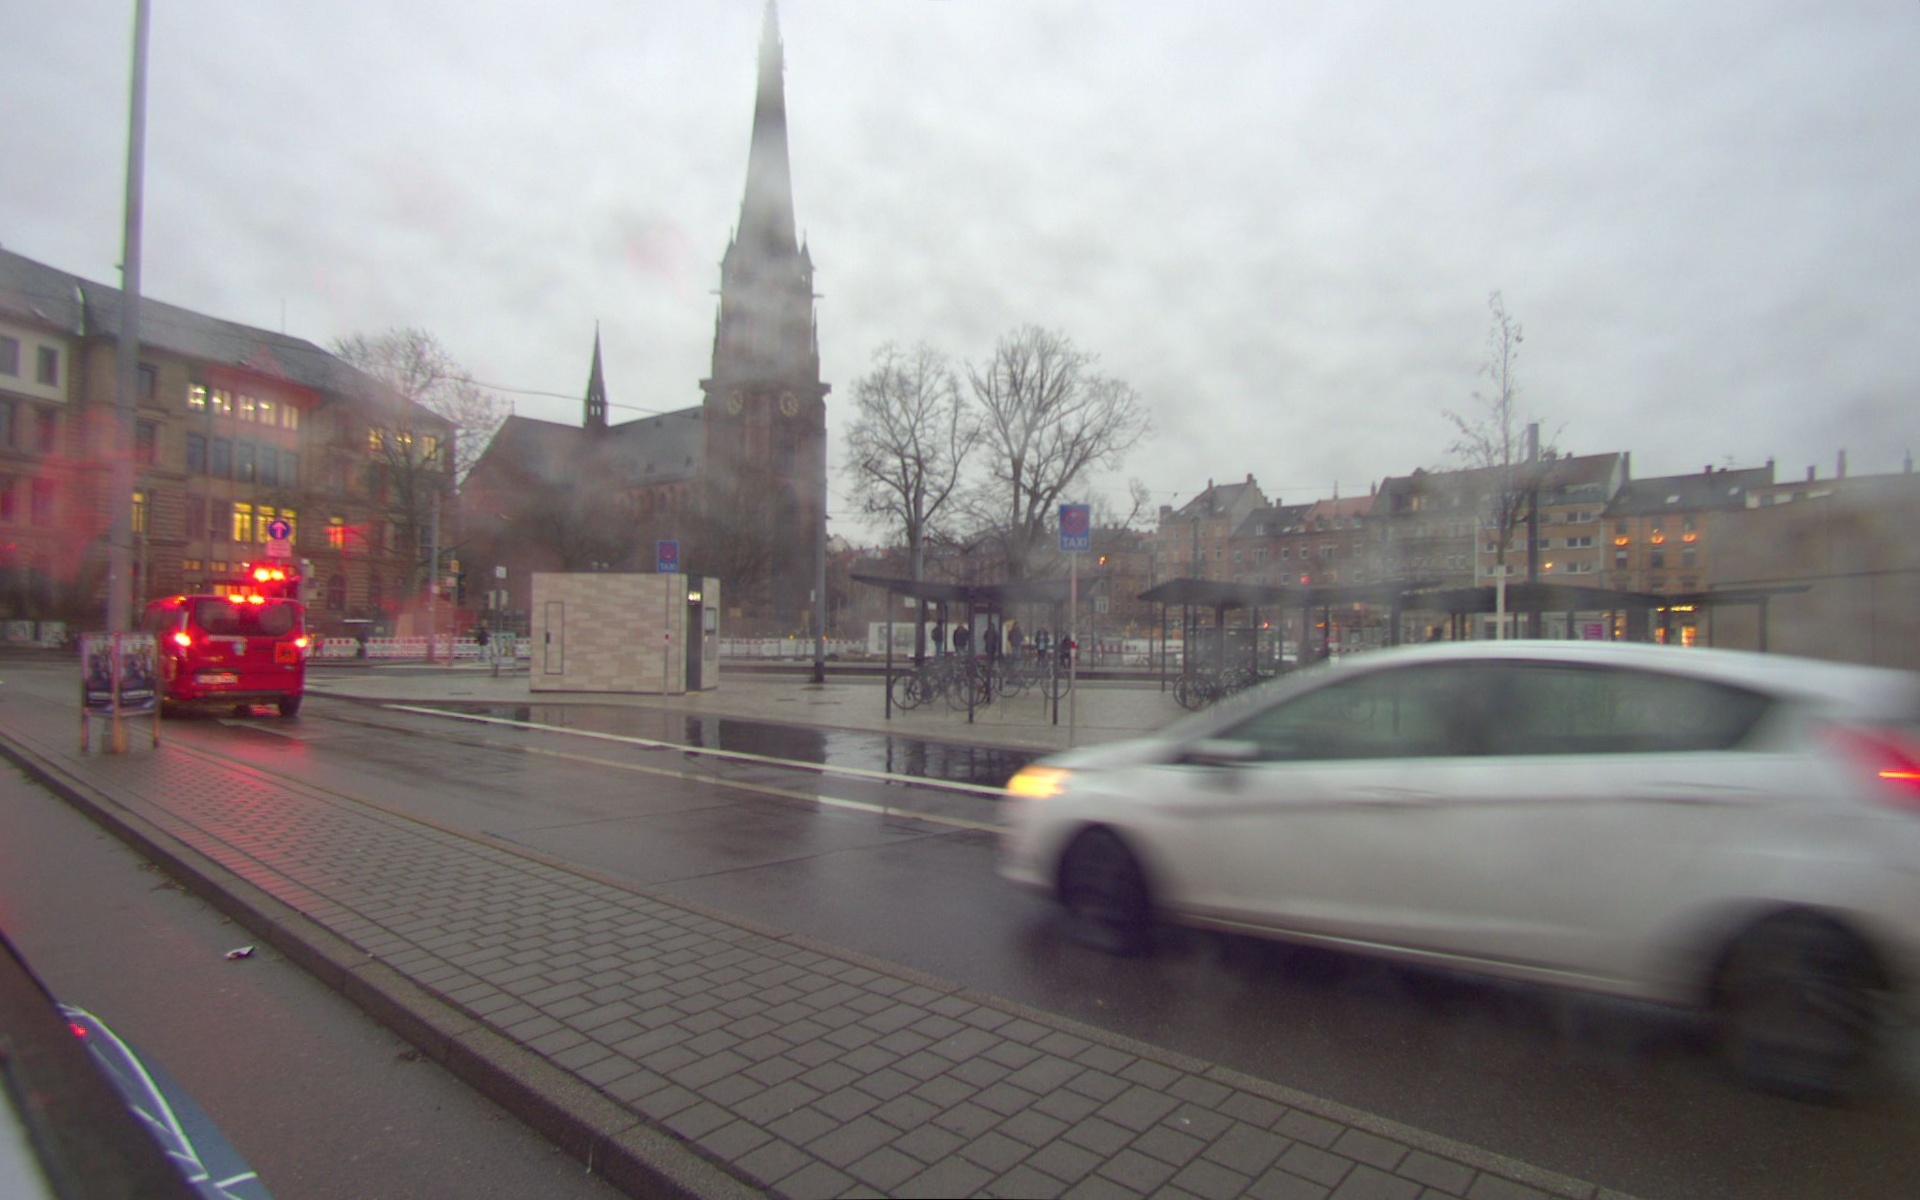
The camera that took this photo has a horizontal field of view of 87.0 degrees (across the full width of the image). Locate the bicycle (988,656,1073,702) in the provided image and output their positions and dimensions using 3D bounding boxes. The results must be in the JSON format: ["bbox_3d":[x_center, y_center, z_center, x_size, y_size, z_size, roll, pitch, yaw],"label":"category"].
[{"bbox_3d":[1.640,1.820,23.428,1.905,0.993,0.473,1,-1,11],"label":"bicycle"}]

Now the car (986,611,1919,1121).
[{"bbox_3d":[2.135,0.846,4.484,3.707,1.459,1.724,-1,-5,36],"label":"car"}]

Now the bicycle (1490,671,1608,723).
[{"bbox_3d":[11.368,1.861,19.577,1.905,0.898,0.473,1,-1,11],"label":"bicycle"}]

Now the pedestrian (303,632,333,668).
[{"bbox_3d":[-31.312,2.417,49.339,1.204,1.673,0.765,-1,0,32],"label":"pedestrian"}]

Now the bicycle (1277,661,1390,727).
[{"bbox_3d":[6.946,1.734,18.871,1.905,1.129,0.473,1,-1,11],"label":"bicycle"}]

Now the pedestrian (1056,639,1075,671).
[{"bbox_3d":[3.980,2.070,38.329,0.610,1.165,0.806,-1,0,-1],"label":"pedestrian"}]

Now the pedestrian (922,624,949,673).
[{"bbox_3d":[-0.934,1.812,38.190,0.659,1.808,0.829,-1,0,-37],"label":"pedestrian"}]

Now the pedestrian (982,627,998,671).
[{"bbox_3d":[1.148,1.857,38.656,0.556,1.664,0.540,-1,0,-1],"label":"pedestrian"}]

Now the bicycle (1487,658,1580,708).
[{"bbox_3d":[13.253,1.908,23.422,1.810,1.081,0.474,1,-1,8],"label":"bicycle"}]

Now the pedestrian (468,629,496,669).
[{"bbox_3d":[-23.241,2.360,49.184,0.961,1.915,0.673,1,-2,4],"label":"pedestrian"}]

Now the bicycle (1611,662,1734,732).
[{"bbox_3d":[12.690,1.724,18.051,1.731,1.165,0.617,1,-1,1],"label":"bicycle"}]

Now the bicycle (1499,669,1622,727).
[{"bbox_3d":[11.127,1.813,18.789,1.905,0.983,0.473,1,-1,11],"label":"bicycle"}]

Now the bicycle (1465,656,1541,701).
[{"bbox_3d":[13.233,1.915,24.669,1.551,1.044,0.521,1,-1,1],"label":"bicycle"}]

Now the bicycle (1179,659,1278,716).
[{"bbox_3d":[5.445,1.773,20.622,1.905,1.078,0.473,1,-1,11],"label":"bicycle"}]

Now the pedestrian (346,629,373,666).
[{"bbox_3d":[-30.192,2.401,50.864,0.885,1.830,0.674,1,-2,1],"label":"pedestrian"}]

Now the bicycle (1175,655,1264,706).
[{"bbox_3d":[5.850,1.807,22.854,1.905,1.078,0.473,1,-1,11],"label":"bicycle"}]

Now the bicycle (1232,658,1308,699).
[{"bbox_3d":[7.663,1.940,25.075,1.729,0.946,0.474,1,-1,7],"label":"bicycle"}]

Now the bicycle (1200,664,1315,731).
[{"bbox_3d":[5.257,1.719,17.961,1.905,1.078,0.473,1,-1,11],"label":"bicycle"}]

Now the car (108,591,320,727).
[{"bbox_3d":[-13.161,0.993,17.763,4.640,2.086,1.904,-1,-4,40],"label":"car"}]

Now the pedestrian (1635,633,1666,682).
[{"bbox_3d":[23.996,1.982,35.163,0.689,1.679,0.529,1,-3,-12],"label":"pedestrian"}]

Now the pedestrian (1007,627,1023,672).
[{"bbox_3d":[2.068,1.853,38.118,0.543,1.648,0.571,-1,0,-1],"label":"pedestrian"}]

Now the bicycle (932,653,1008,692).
[{"bbox_3d":[0.271,1.867,26.131,1.905,0.917,0.473,1,-1,11],"label":"bicycle"}]

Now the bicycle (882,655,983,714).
[{"bbox_3d":[-0.538,1.652,19.871,1.905,1.078,0.473,1,-1,11],"label":"bicycle"}]

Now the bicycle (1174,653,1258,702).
[{"bbox_3d":[6.064,1.828,24.045,1.905,1.078,0.473,1,-1,11],"label":"bicycle"}]

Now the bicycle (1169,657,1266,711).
[{"bbox_3d":[5.431,1.772,21.406,1.899,1.078,0.474,1,-1,2],"label":"bicycle"}]

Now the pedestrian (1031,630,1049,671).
[{"bbox_3d":[3.034,1.908,38.337,0.580,1.513,0.675,-1,0,-1],"label":"pedestrian"}]

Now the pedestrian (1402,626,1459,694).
[{"bbox_3d":[12.597,1.596,27.115,1.053,1.778,1.010,0,-3,4],"label":"pedestrian"}]

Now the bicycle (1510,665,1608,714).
[{"bbox_3d":[12.901,1.918,21.836,1.751,0.963,0.473,1,-1,11],"label":"bicycle"}]

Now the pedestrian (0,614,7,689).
[{"bbox_3d":[-24.775,1.286,25.443,0.672,1.915,0.989,0,-3,31],"label":"pedestrian"}]

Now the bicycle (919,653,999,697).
[{"bbox_3d":[-0.014,1.827,24.873,1.905,0.993,0.473,1,-1,11],"label":"bicycle"}]

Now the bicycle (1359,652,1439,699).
[{"bbox_3d":[11.185,1.923,25.807,1.780,1.116,0.473,1,-1,11],"label":"bicycle"}]

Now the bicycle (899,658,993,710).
[{"bbox_3d":[-0.287,1.733,21.109,1.905,0.993,0.473,1,-1,11],"label":"bicycle"}]

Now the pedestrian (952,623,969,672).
[{"bbox_3d":[0.004,1.800,38.583,0.619,1.808,0.672,-1,0,-1],"label":"pedestrian"}]

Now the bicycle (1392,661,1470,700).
[{"bbox_3d":[11.621,1.990,24.997,1.672,0.898,0.474,1,-1,5],"label":"bicycle"}]
